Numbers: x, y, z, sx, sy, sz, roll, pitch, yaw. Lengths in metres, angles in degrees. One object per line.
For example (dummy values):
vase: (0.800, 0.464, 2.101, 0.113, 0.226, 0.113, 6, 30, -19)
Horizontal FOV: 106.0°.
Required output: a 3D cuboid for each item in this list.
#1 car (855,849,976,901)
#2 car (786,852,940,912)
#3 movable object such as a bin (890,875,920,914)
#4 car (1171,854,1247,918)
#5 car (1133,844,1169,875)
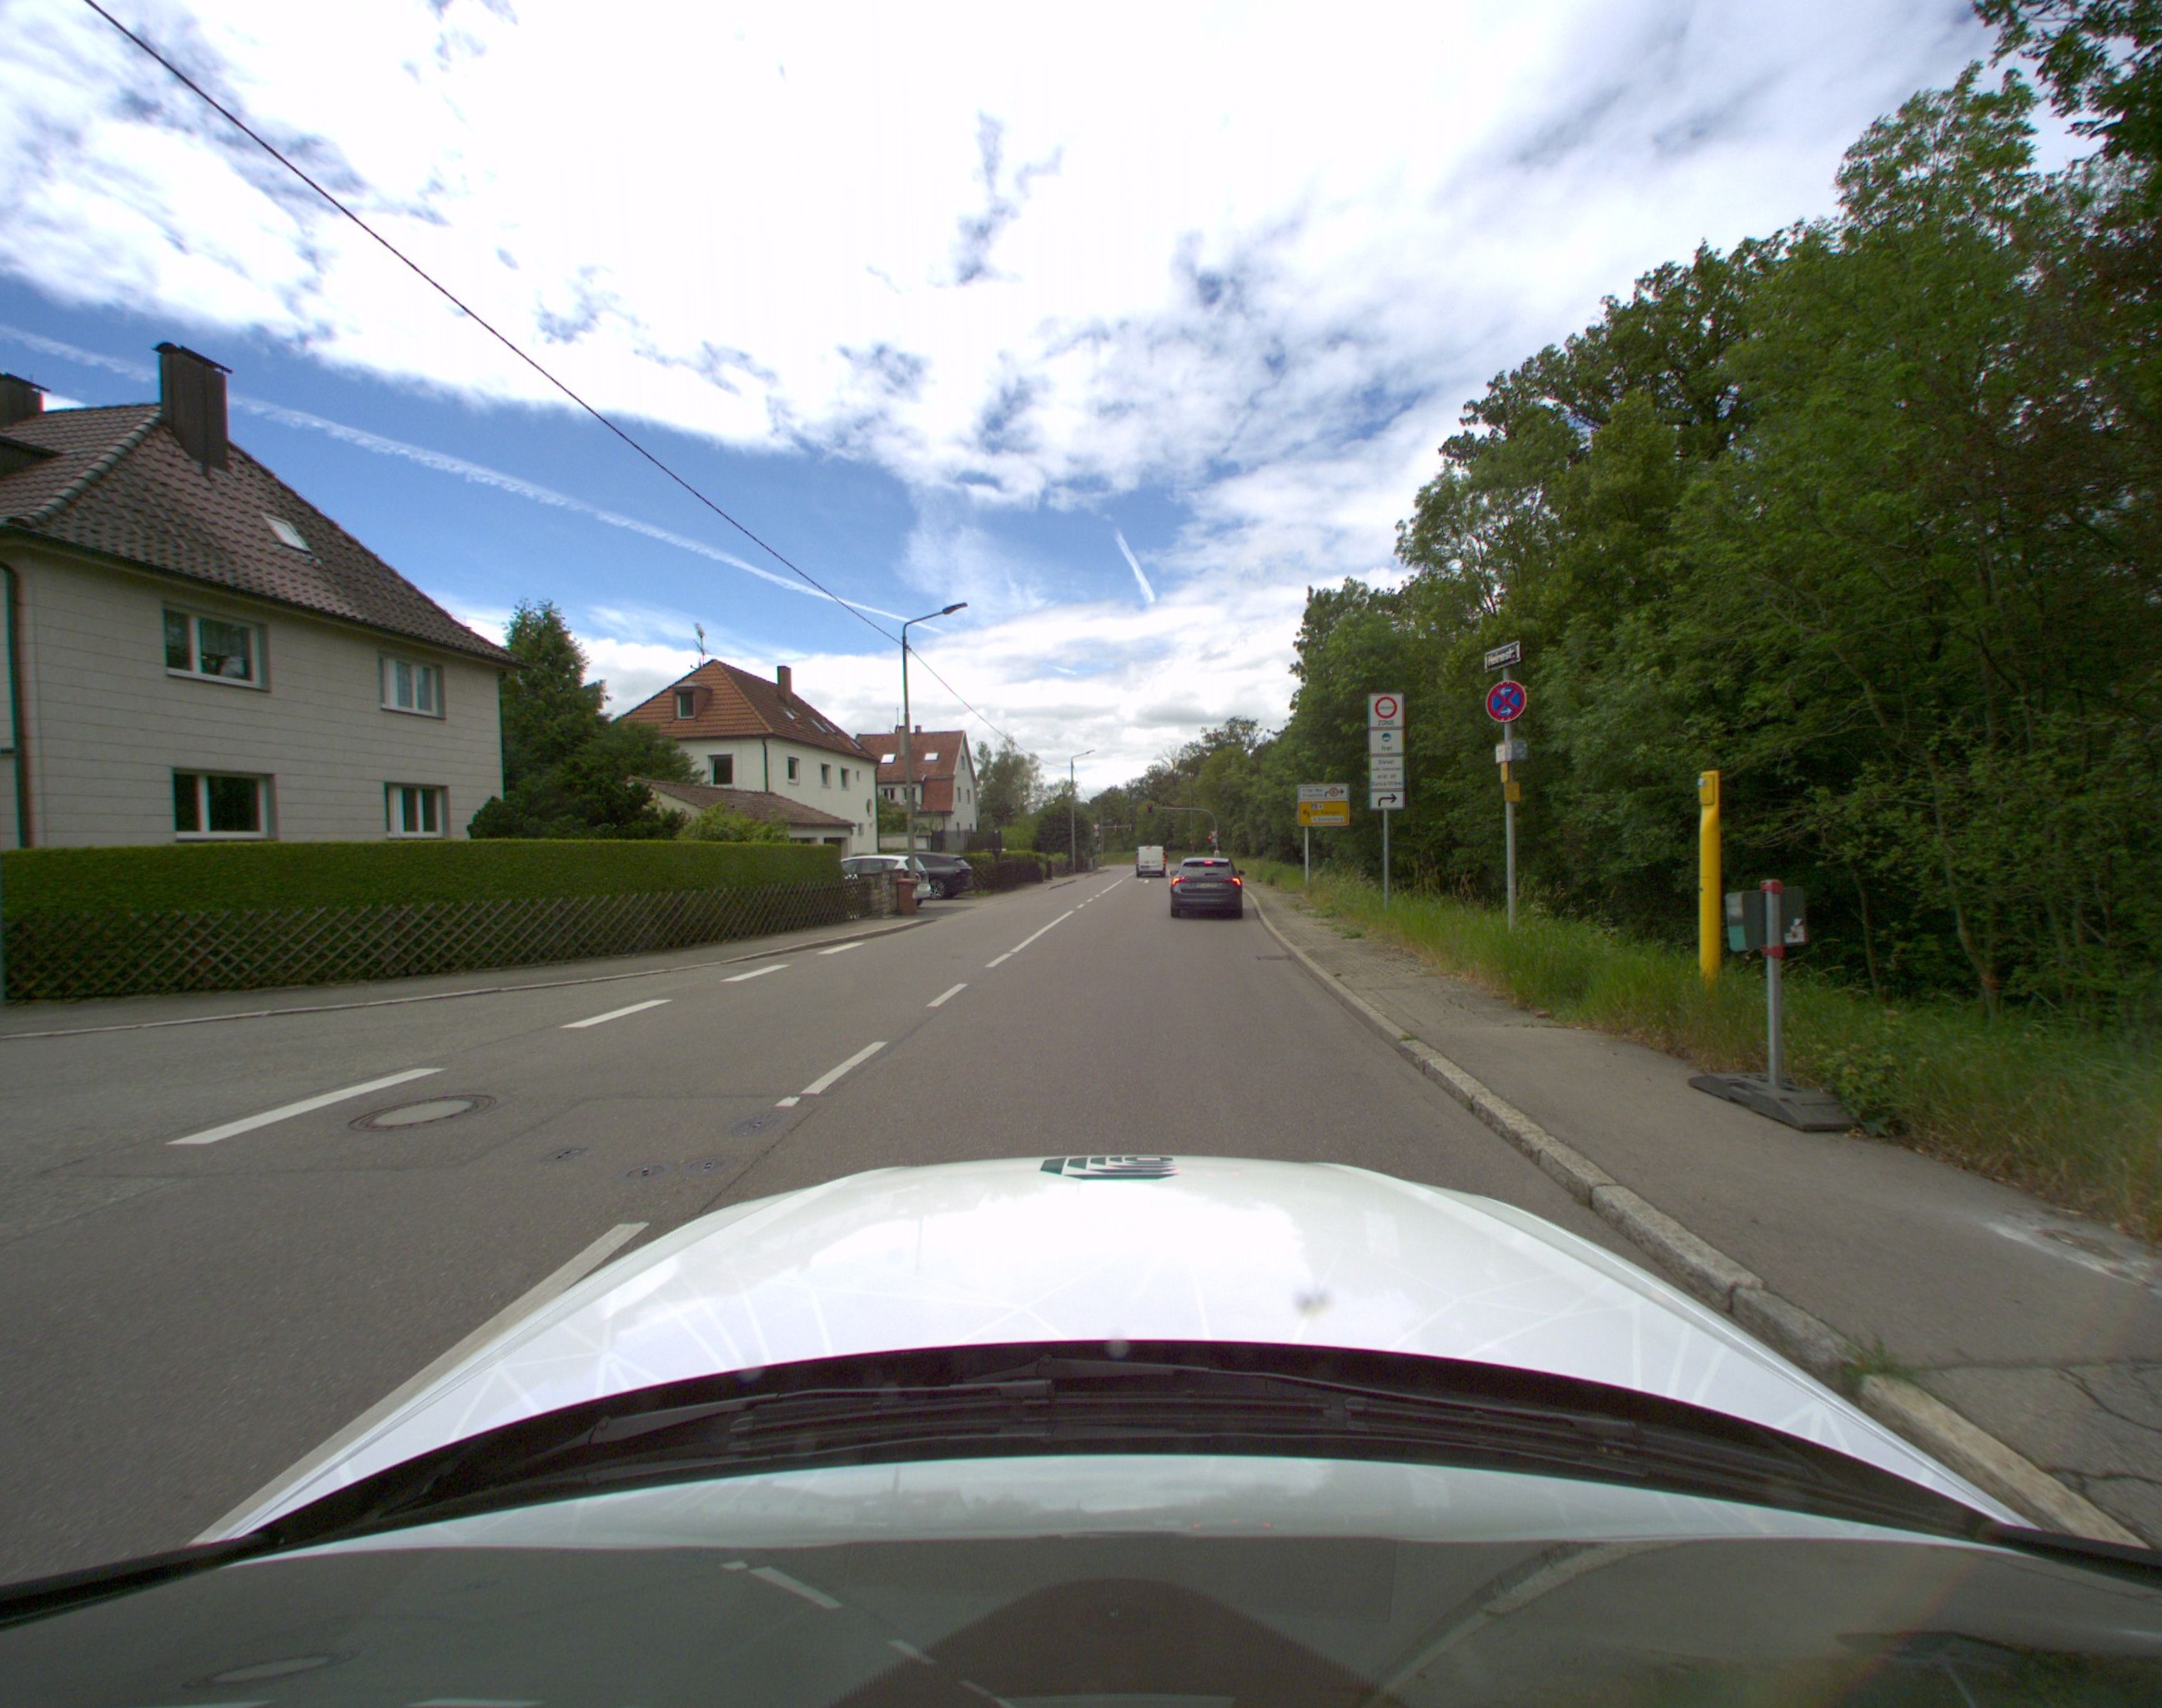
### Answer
car: (-5.922, 0.722, 29.562, 3.978, 1.706, 1.915, -2, 0, -3)
car: (-6.429, 0.797, 24.375, 3.973, 1.618, 2.000, -2, 0, 0)
movable object such as a bin: (-4.547, 1.035, 21.051, 0.597, 0.951, 0.579, -2, 0, 1)
car: (3.189, 0.742, 20.969, 1.719, 1.439, 4.331, -1, 0, 6)
car: (4.488, 0.359, 52.893, 2.063, 1.922, 4.925, -1, 0, 2)
